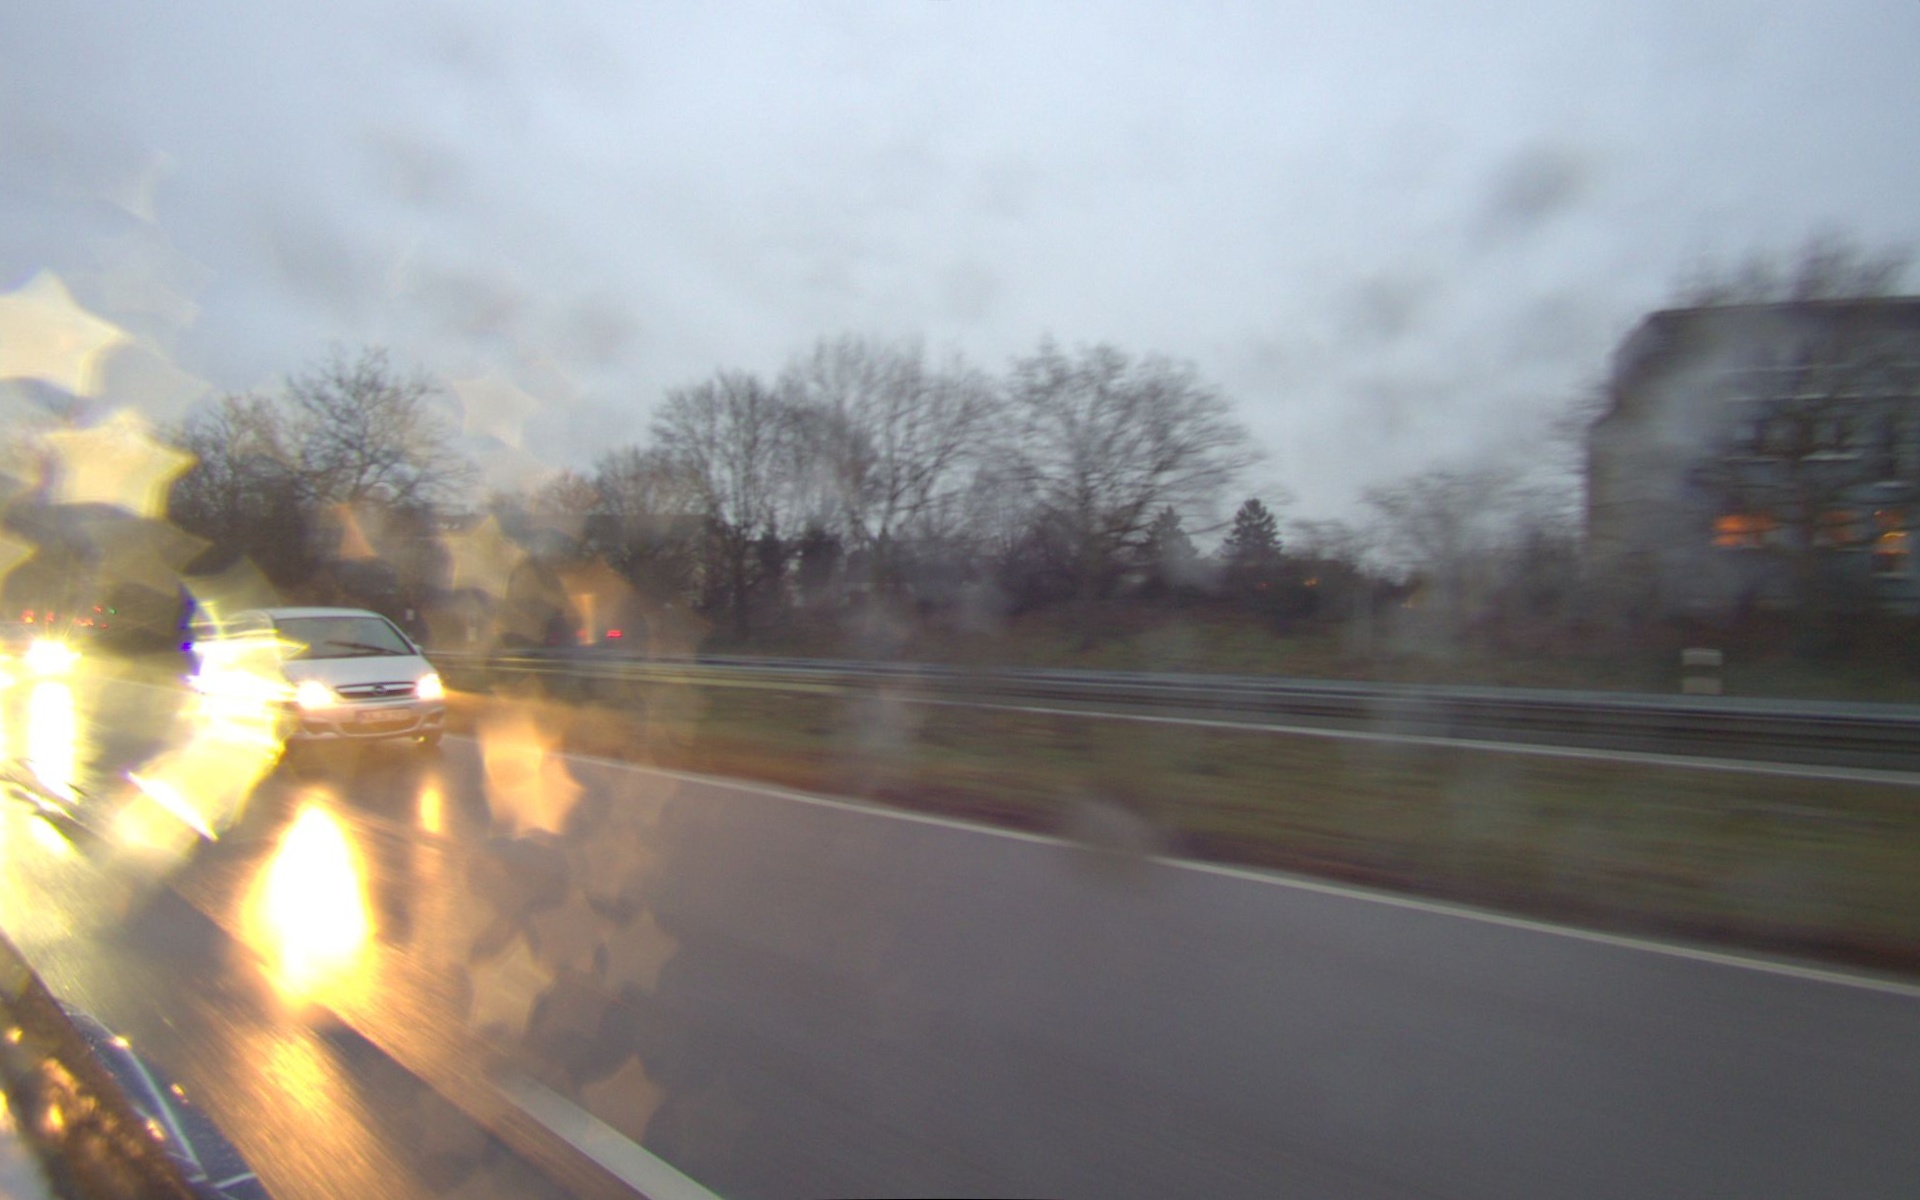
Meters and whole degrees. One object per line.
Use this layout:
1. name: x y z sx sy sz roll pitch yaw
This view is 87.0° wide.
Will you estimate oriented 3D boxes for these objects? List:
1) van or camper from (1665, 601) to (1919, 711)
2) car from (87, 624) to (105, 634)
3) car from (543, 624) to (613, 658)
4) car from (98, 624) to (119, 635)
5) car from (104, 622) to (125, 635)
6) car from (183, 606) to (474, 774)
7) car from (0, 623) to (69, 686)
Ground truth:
1. van or camper: 15.355 0.945 18.171 4.210 1.797 1.630 -1 -1 44
2. car: -128.798 4.292 150.884 3.958 1.364 1.630 -1 -1 44
3. car: -19.612 2.075 51.859 1.762 1.621 4.688 1 -1 -42
4. car: -117.431 4.072 139.545 4.379 1.545 1.763 -1 -1 44
5. car: -105.643 3.544 126.399 3.982 1.694 1.599 -1 -2 44
6. car: -7.437 0.891 11.760 4.163 1.611 1.743 -1 -1 41
7. car: -25.498 1.403 27.095 4.145 1.542 2.000 -1 -1 42
